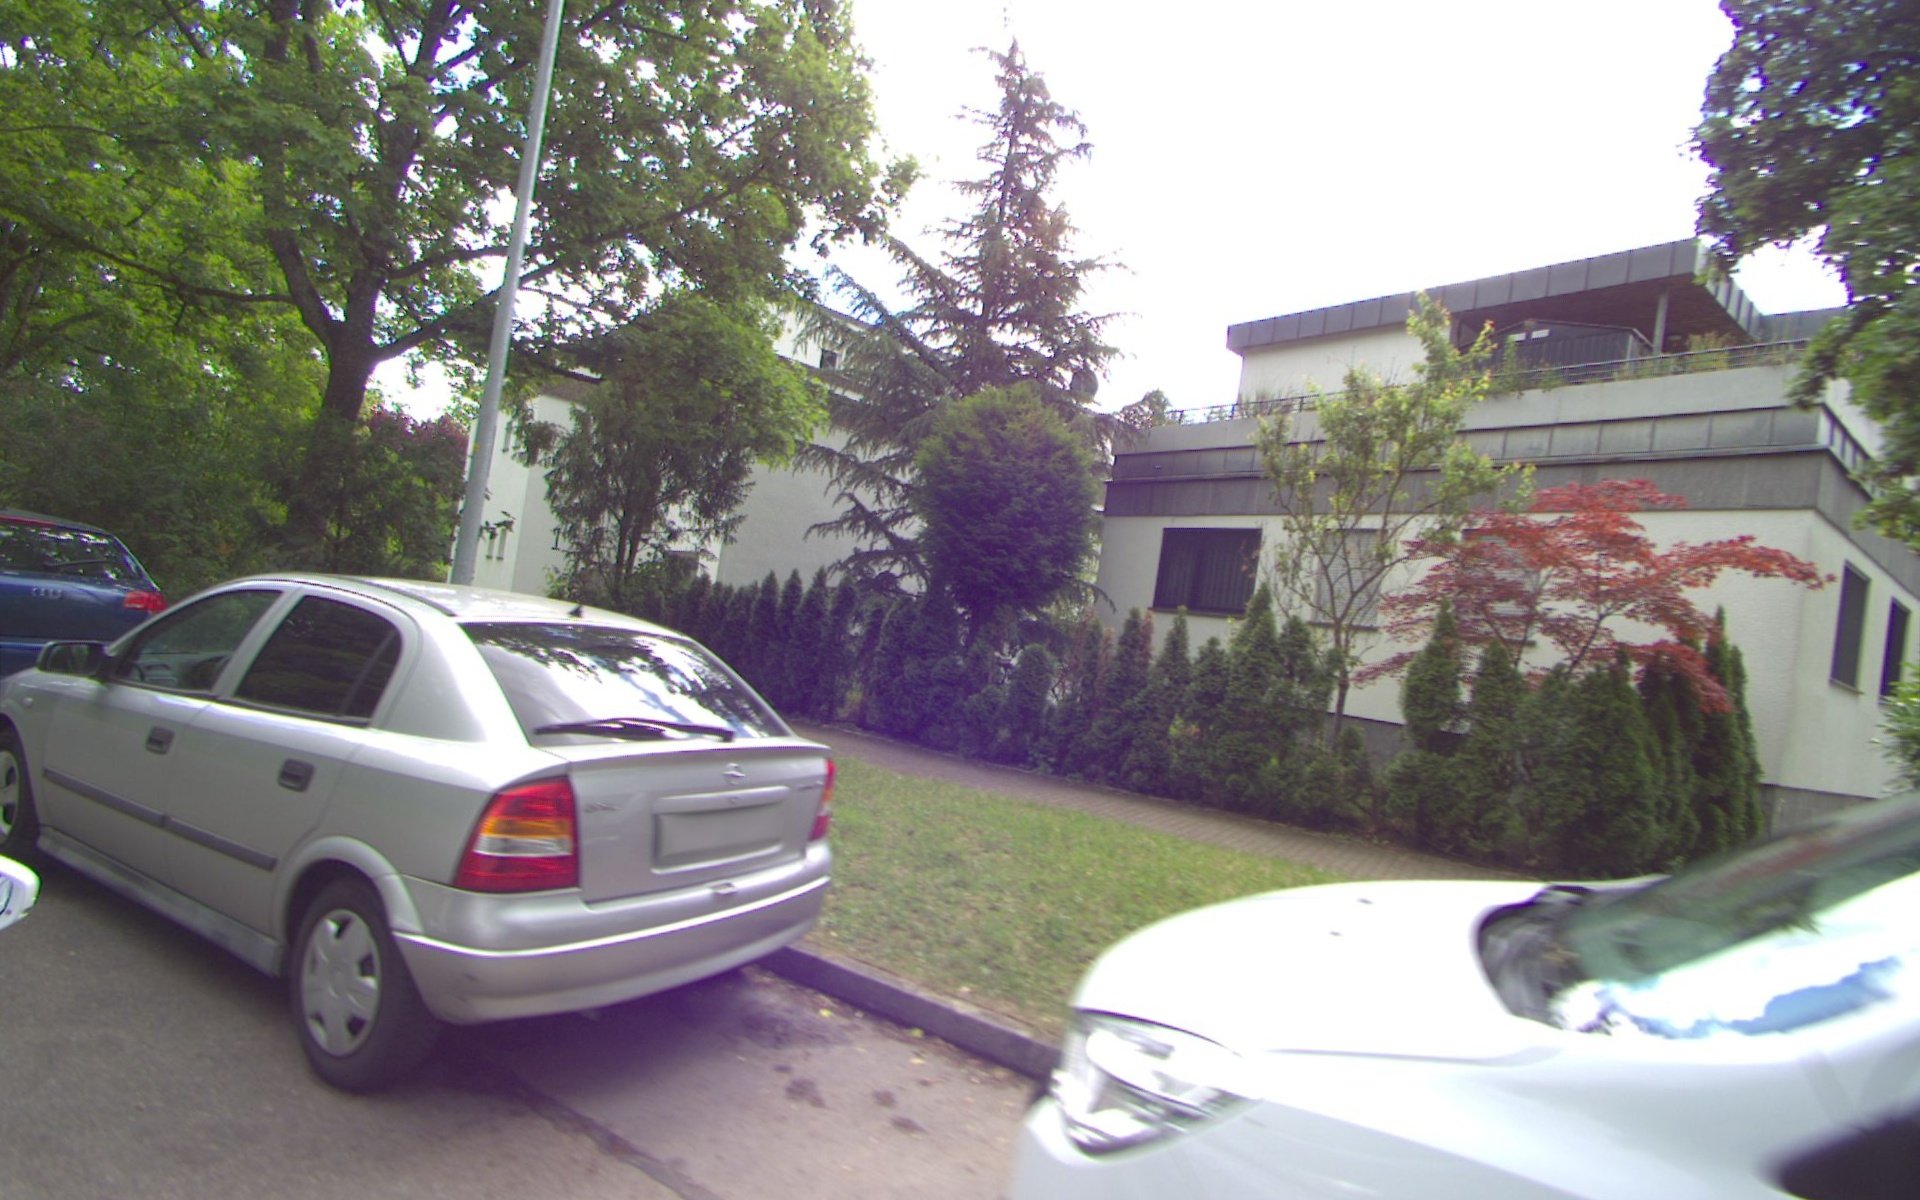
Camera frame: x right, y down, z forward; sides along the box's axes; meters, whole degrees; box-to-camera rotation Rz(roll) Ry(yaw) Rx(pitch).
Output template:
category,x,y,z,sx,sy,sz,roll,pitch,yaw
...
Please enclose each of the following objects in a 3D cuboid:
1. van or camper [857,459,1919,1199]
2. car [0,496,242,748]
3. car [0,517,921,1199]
category,x,y,z,sx,sy,sz,roll,pitch,yaw
van or camper,2.124,0.953,1.318,4.249,1.858,1.806,5,-3,31
car,-7.499,-0.060,7.218,4.400,1.491,1.853,7,-2,27
car,-2.480,0.640,4.283,4.171,1.453,1.818,7,-3,31
